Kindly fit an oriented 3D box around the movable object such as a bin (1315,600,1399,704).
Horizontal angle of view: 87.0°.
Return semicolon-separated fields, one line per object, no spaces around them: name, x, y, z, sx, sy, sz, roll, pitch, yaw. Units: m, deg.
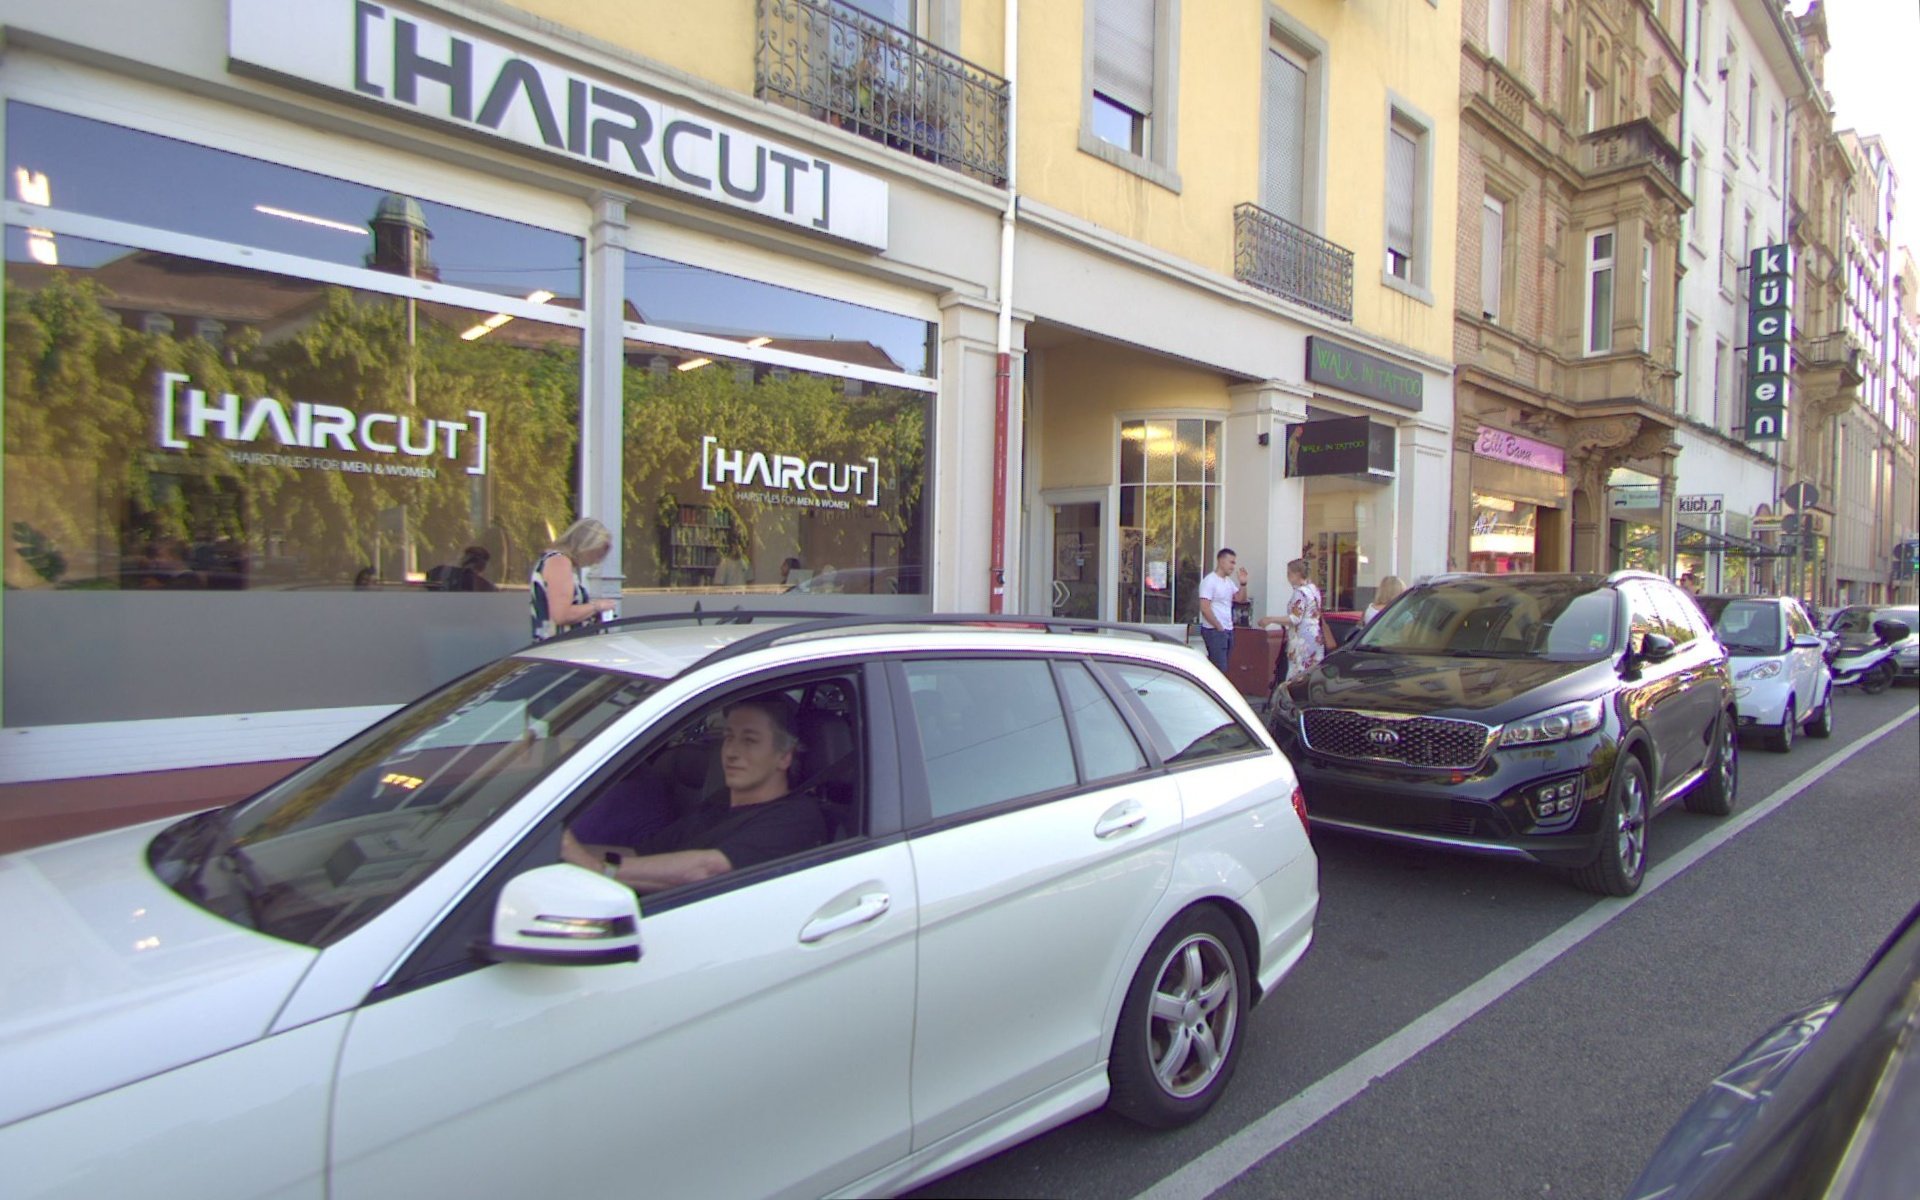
movable object such as a bin;4.476;0.566;11.416;0.608;1.079;0.606;0;3;-41

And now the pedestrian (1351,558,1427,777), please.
pedestrian;3.635;0.546;8.579;0.473;1.785;0.434;0;0;-40

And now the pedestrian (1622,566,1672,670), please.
pedestrian;11.246;0.284;16.563;0.616;1.653;0.456;1;0;41

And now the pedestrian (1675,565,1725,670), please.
pedestrian;11.789;0.269;16.135;0.508;1.653;0.413;1;0;15

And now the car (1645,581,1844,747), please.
car;8.426;0.578;10.806;2.748;1.537;1.273;0;1;-43

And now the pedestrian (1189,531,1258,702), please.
pedestrian;2.646;0.163;10.189;0.513;1.681;0.339;1;1;-16

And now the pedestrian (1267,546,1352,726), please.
pedestrian;3.346;0.331;9.711;0.581;1.681;0.452;2;1;-3

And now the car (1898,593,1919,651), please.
car;25.510;0.555;25.965;3.736;1.435;1.736;0;1;-41

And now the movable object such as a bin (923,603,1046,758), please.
movable object such as a bin;0.179;0.576;7.644;0.608;1.054;0.662;1;3;-38

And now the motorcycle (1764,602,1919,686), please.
motorcycle;14.679;0.703;16.620;2.137;1.295;0.866;1;0;8

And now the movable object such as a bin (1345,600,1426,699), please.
movable object such as a bin;4.966;0.561;11.821;0.608;1.079;0.606;0;3;-41

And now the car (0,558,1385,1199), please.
car;-0.736;0.666;2.703;4.387;1.465;1.741;0;1;-42

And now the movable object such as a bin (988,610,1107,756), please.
movable object such as a bin;0.690;0.627;8.020;0.608;1.037;0.669;1;3;-38

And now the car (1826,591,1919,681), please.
car;17.842;0.615;19.208;4.096;1.537;1.735;0;1;-43

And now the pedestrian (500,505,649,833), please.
pedestrian;-2.115;0.335;5.533;0.523;1.653;0.697;0;2;-42

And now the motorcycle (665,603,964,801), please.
motorcycle;-0.897;0.590;6.695;1.975;1.105;0.551;0;2;-42

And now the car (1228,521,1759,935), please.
car;3.687;0.523;6.521;4.498;1.758;1.756;0;1;-45

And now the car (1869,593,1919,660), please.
car;22.325;0.574;23.235;3.736;1.435;1.736;0;1;-41
